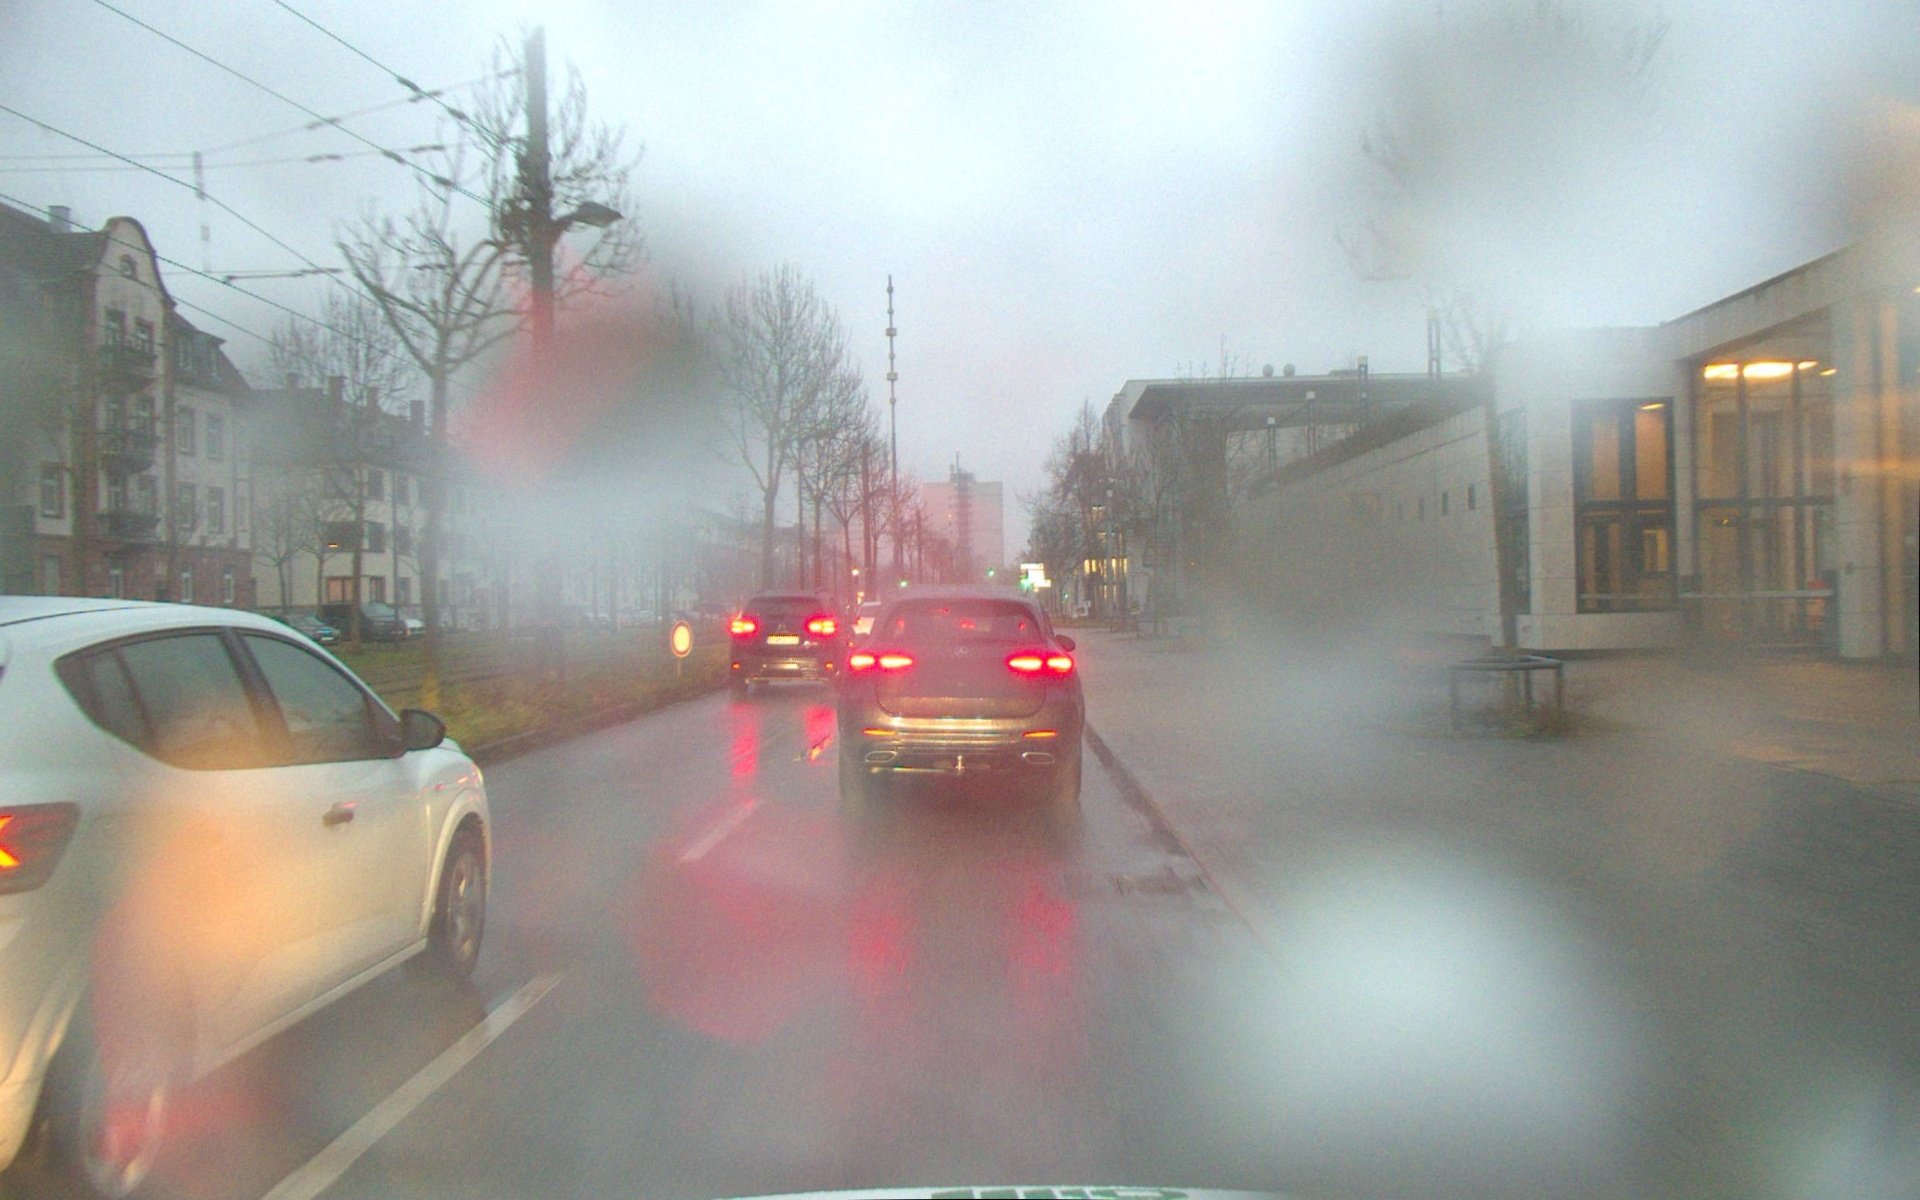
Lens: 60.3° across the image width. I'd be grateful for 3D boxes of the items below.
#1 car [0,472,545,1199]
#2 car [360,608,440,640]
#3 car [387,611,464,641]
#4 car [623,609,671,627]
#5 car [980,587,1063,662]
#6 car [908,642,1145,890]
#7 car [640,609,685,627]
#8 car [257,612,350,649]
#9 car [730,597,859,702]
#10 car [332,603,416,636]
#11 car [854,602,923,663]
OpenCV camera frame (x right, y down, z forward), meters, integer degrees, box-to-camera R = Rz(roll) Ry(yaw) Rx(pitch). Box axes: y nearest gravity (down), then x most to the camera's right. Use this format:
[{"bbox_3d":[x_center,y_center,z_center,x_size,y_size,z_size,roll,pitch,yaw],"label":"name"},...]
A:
[{"bbox_3d":[-2.567,0.582,5.122,1.638,1.628,4.052,0,0,-2],"label":"car"},{"bbox_3d":[-25.863,1.112,76.362,3.484,1.378,1.776,-2,0,35],"label":"car"},{"bbox_3d":[-25.860,1.256,80.028,3.484,1.378,1.776,-2,0,35],"label":"car"},{"bbox_3d":[-24.757,1.431,130.805,3.484,1.378,1.776,-2,0,35],"label":"car"},{"bbox_3d":[1.551,0.590,42.021,1.952,1.774,4.001,-1,0,2],"label":"car"},{"bbox_3d":[0.520,1.206,13.498,1.637,1.628,4.054,0,0,2],"label":"car"},{"bbox_3d":[-24.761,1.486,137.560,3.484,1.378,1.776,-2,0,35],"label":"car"},{"bbox_3d":[-26.094,1.228,65.725,3.484,1.378,1.776,-2,0,35],"label":"car"},{"bbox_3d":[-2.691,0.781,27.687,1.637,1.628,4.054,0,0,2],"label":"car"},{"bbox_3d":[-25.859,0.863,72.990,3.484,1.378,1.776,-2,0,35],"label":"car"},{"bbox_3d":[-1.986,0.884,46.716,1.637,1.628,4.054,0,0,2],"label":"car"}]
